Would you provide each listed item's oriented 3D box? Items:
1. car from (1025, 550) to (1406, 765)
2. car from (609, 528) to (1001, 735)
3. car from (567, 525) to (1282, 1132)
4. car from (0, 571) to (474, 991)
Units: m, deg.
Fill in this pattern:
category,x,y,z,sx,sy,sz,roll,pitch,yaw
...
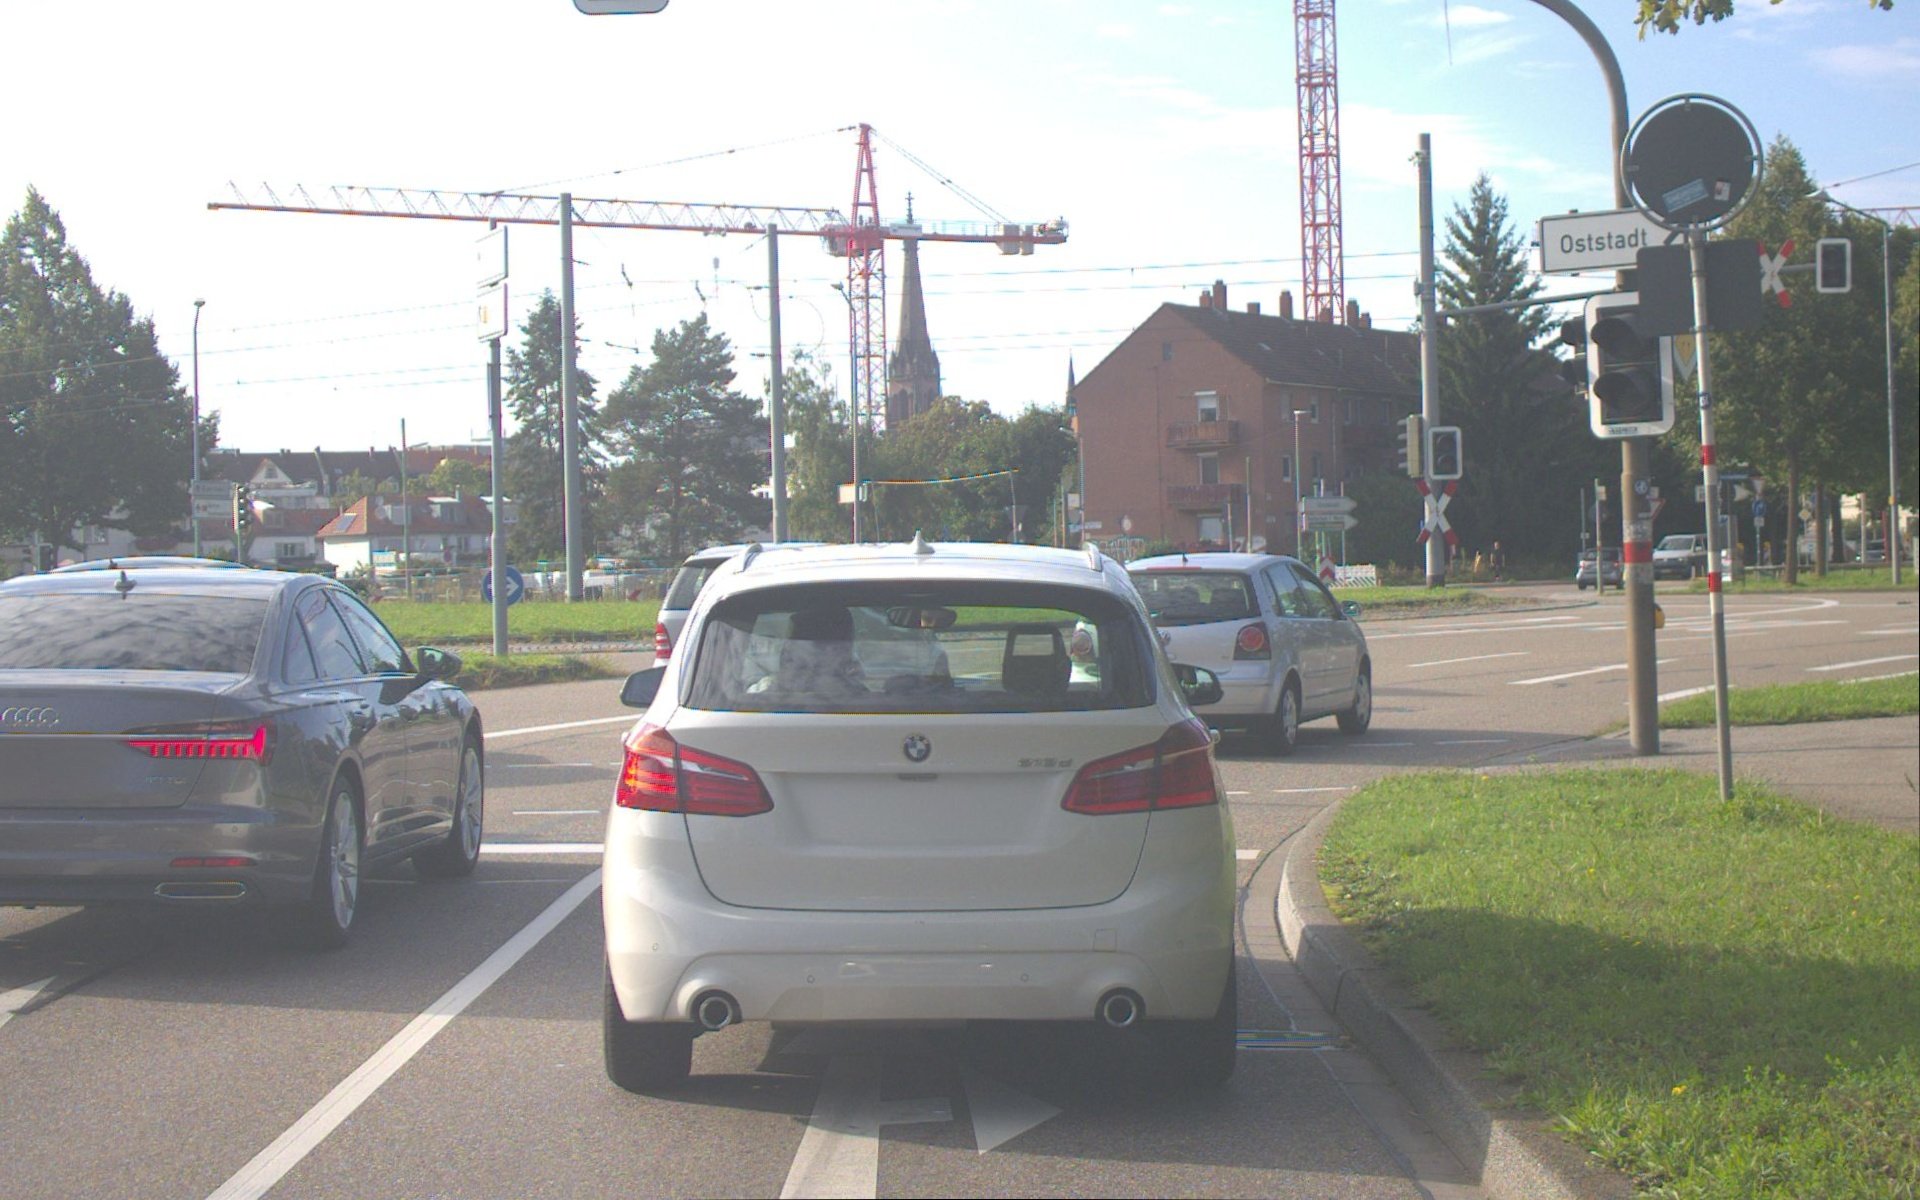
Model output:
category,x,y,z,sx,sy,sz,roll,pitch,yaw
car,2.061,0.371,26.382,1.852,1.421,4.451,0,2,19
car,-1.202,0.212,29.009,1.852,1.473,4.452,-1,2,17
car,-0.115,0.569,11.168,1.850,1.567,4.455,0,1,-1
car,-3.272,0.610,14.283,1.850,1.440,4.715,0,1,0
